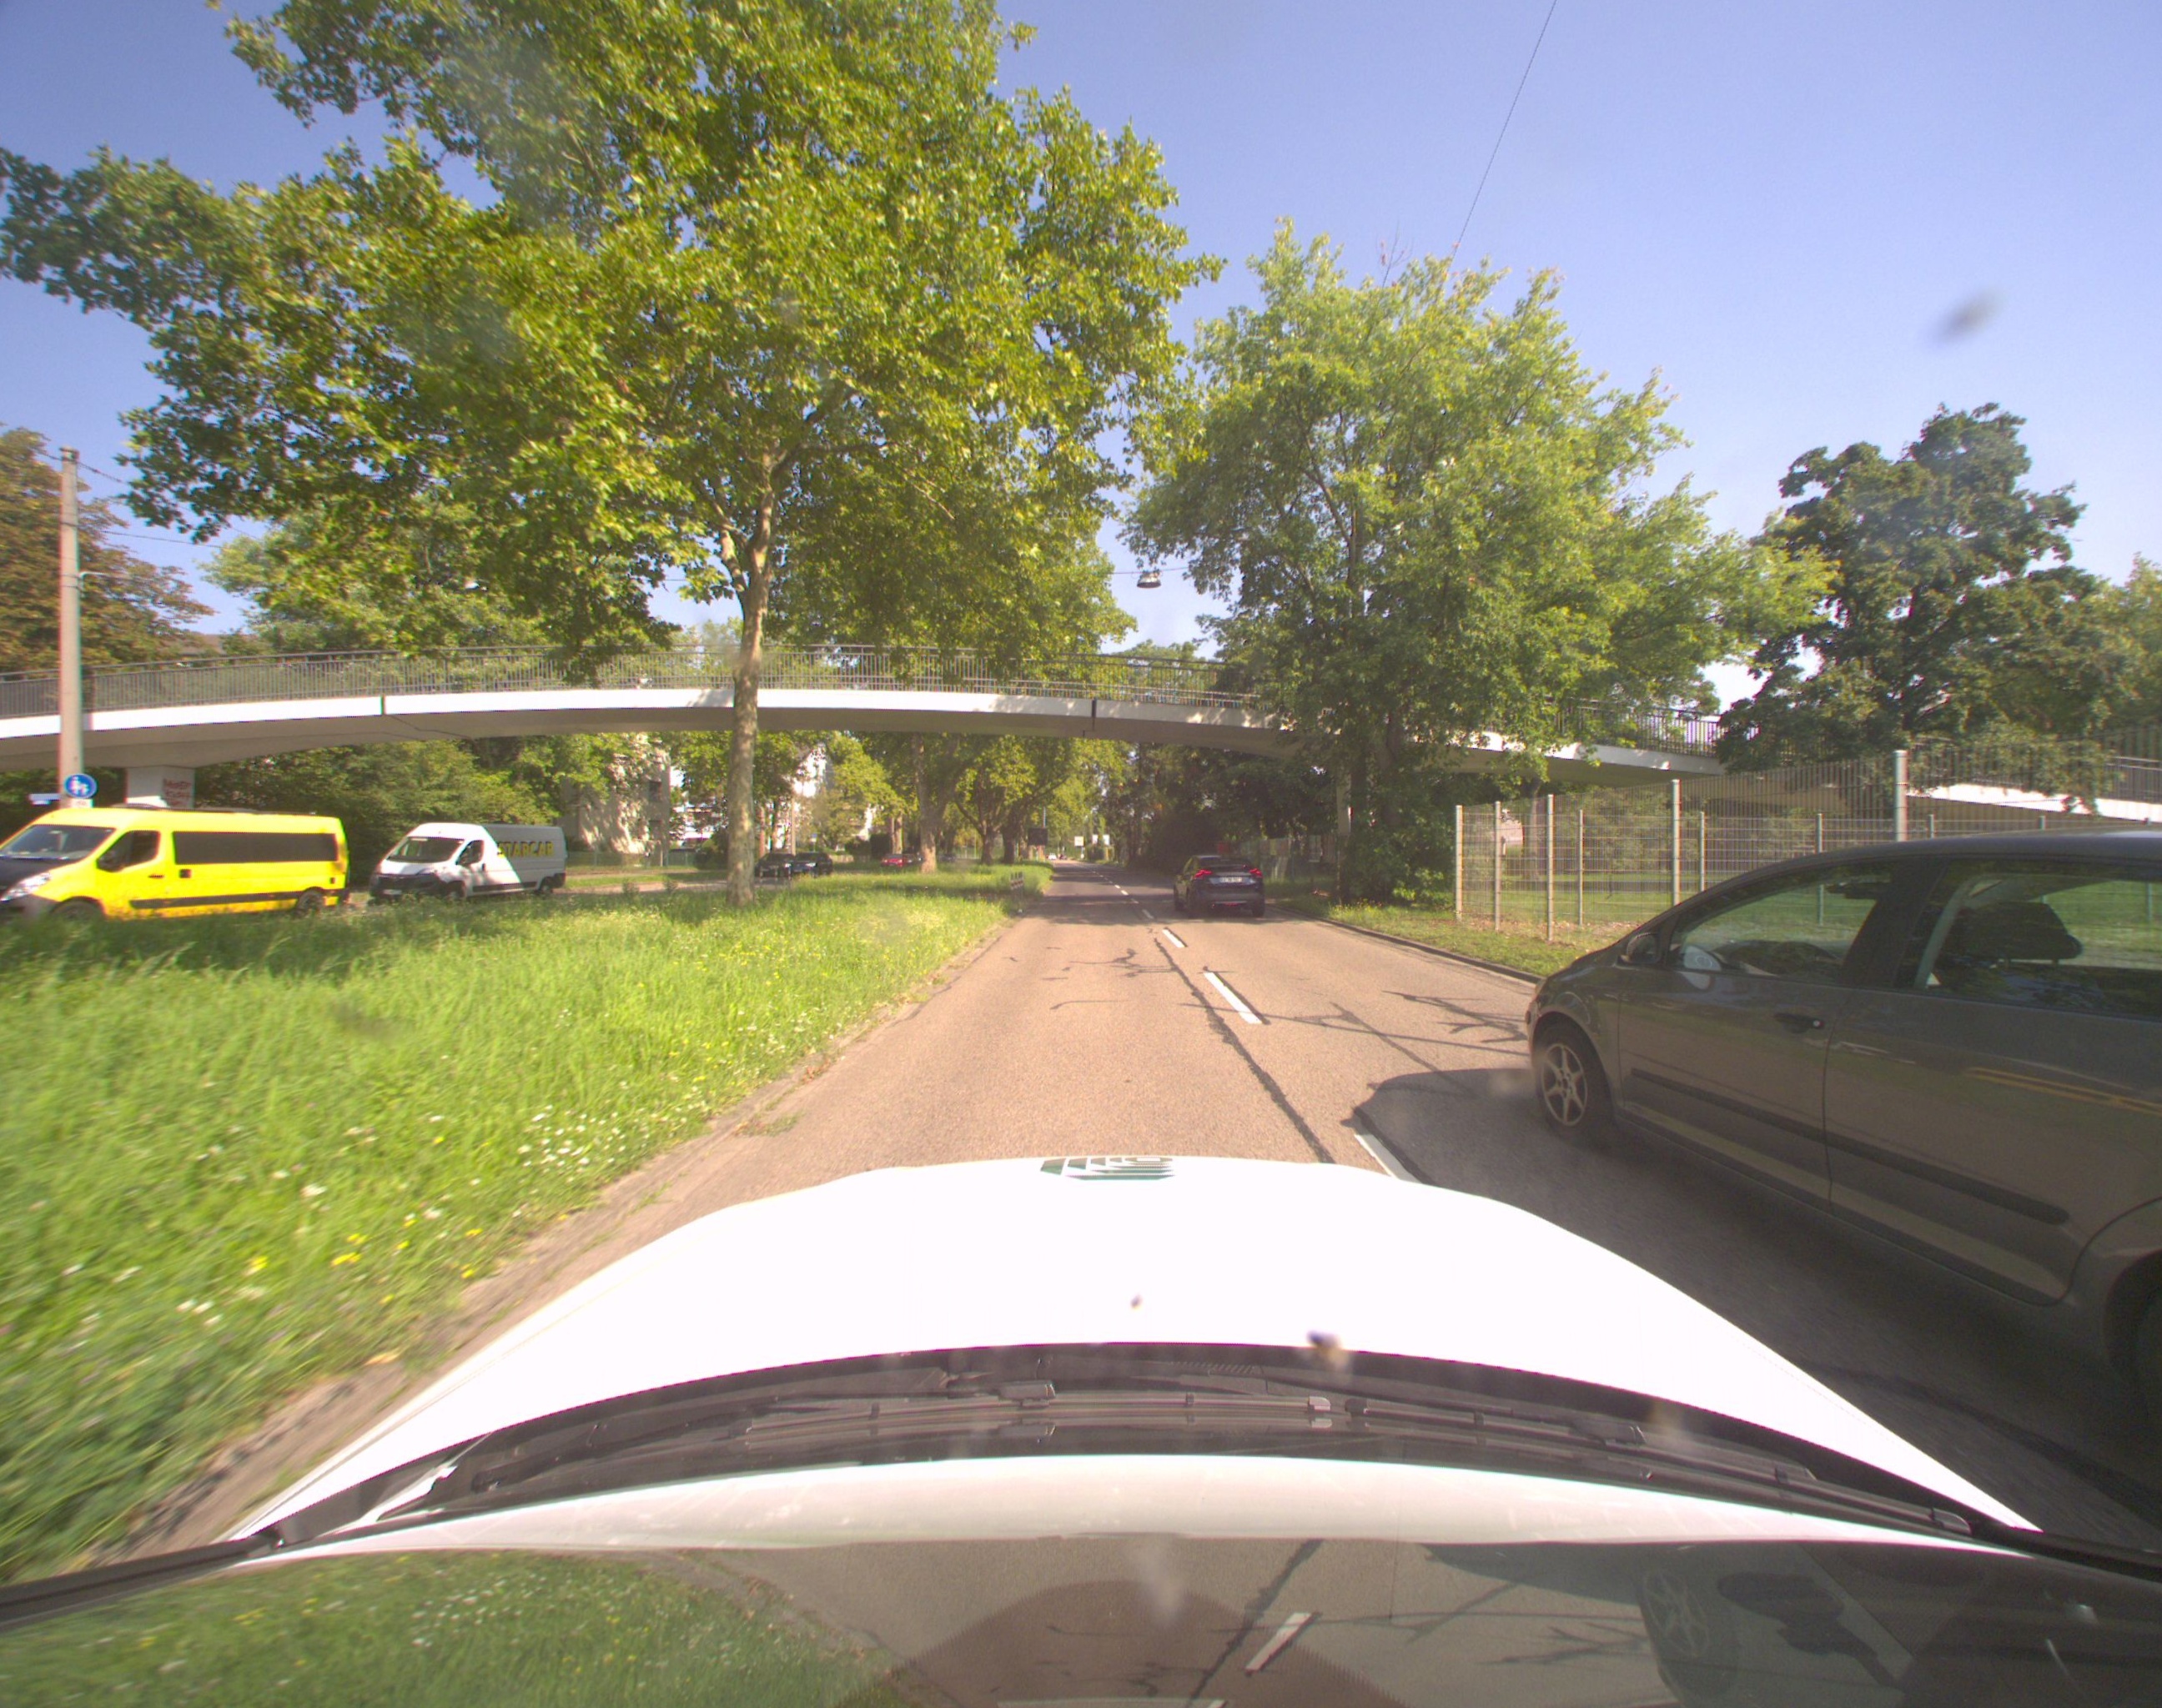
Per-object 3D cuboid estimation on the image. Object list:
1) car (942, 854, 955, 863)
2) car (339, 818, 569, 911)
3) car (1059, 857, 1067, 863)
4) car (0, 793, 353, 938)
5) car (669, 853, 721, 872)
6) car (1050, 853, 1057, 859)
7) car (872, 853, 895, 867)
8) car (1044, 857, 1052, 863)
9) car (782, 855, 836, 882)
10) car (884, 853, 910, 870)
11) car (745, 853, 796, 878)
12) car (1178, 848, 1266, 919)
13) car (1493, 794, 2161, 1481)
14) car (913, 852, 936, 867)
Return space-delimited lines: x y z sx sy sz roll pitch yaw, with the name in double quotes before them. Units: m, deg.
"car" -22.915 0.737 140.856 1.695 1.568 3.996 0 0 -3
"car" -19.064 0.310 25.350 2.201 2.430 6.263 3 0 0
"car" -4.403 1.567 199.358 1.794 1.401 3.994 1 0 -4
"car" -19.098 0.207 16.963 2.199 2.479 6.064 1 0 2
"car" -35.694 0.780 75.328 4.019 1.772 1.977 1 -1 -38
"car" -6.428 0.513 188.335 1.683 1.462 3.996 1 0 -2
"car" -21.129 0.661 87.338 1.534 1.451 4.062 1 0 -1
"car" -8.227 1.527 203.190 1.681 1.462 3.850 1 0 1
"car" -16.265 0.850 48.933 1.782 1.533 4.454 1 0 -1
"car" -17.144 0.686 75.932 1.687 1.533 4.065 0 0 -3
"car" -19.557 0.704 51.457 1.516 1.533 3.867 0 0 4
"car" 3.429 0.684 20.471 1.639 1.588 4.257 -1 0 2
"car" 3.289 0.658 2.977 1.639 1.556 3.899 1 0 0
"car" -18.231 0.587 95.114 1.797 1.719 4.717 0 0 -1
